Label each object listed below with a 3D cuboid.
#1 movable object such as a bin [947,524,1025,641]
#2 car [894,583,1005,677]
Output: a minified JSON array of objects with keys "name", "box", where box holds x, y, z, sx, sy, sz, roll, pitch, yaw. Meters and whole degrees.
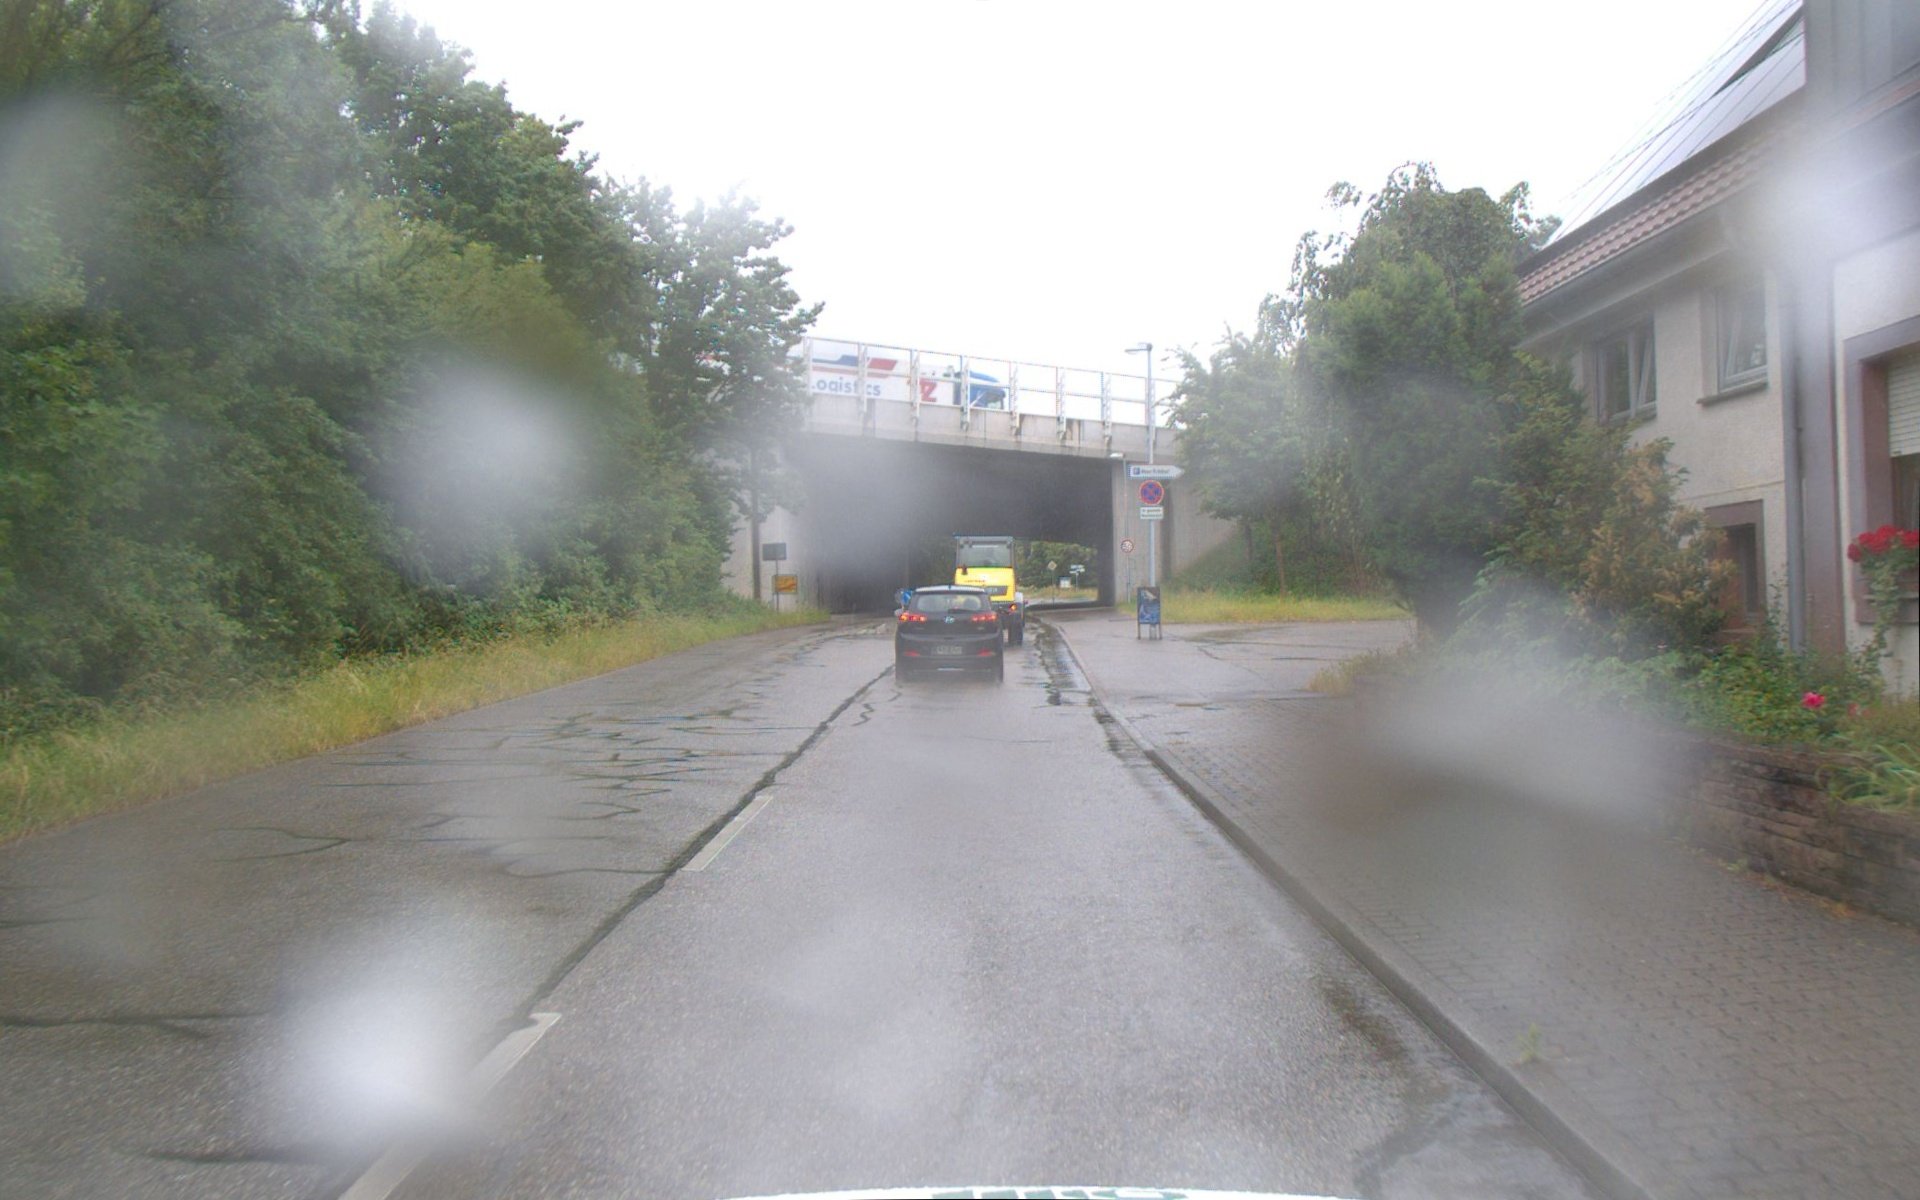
[{"name":"movable object such as a bin","box":[0.582,-0.402,39.038,1.725,2.592,4.239,0,0,0]},{"name":"car","box":[-0.145,0.436,26.864,1.673,1.401,4.000,0,0,0]}]
